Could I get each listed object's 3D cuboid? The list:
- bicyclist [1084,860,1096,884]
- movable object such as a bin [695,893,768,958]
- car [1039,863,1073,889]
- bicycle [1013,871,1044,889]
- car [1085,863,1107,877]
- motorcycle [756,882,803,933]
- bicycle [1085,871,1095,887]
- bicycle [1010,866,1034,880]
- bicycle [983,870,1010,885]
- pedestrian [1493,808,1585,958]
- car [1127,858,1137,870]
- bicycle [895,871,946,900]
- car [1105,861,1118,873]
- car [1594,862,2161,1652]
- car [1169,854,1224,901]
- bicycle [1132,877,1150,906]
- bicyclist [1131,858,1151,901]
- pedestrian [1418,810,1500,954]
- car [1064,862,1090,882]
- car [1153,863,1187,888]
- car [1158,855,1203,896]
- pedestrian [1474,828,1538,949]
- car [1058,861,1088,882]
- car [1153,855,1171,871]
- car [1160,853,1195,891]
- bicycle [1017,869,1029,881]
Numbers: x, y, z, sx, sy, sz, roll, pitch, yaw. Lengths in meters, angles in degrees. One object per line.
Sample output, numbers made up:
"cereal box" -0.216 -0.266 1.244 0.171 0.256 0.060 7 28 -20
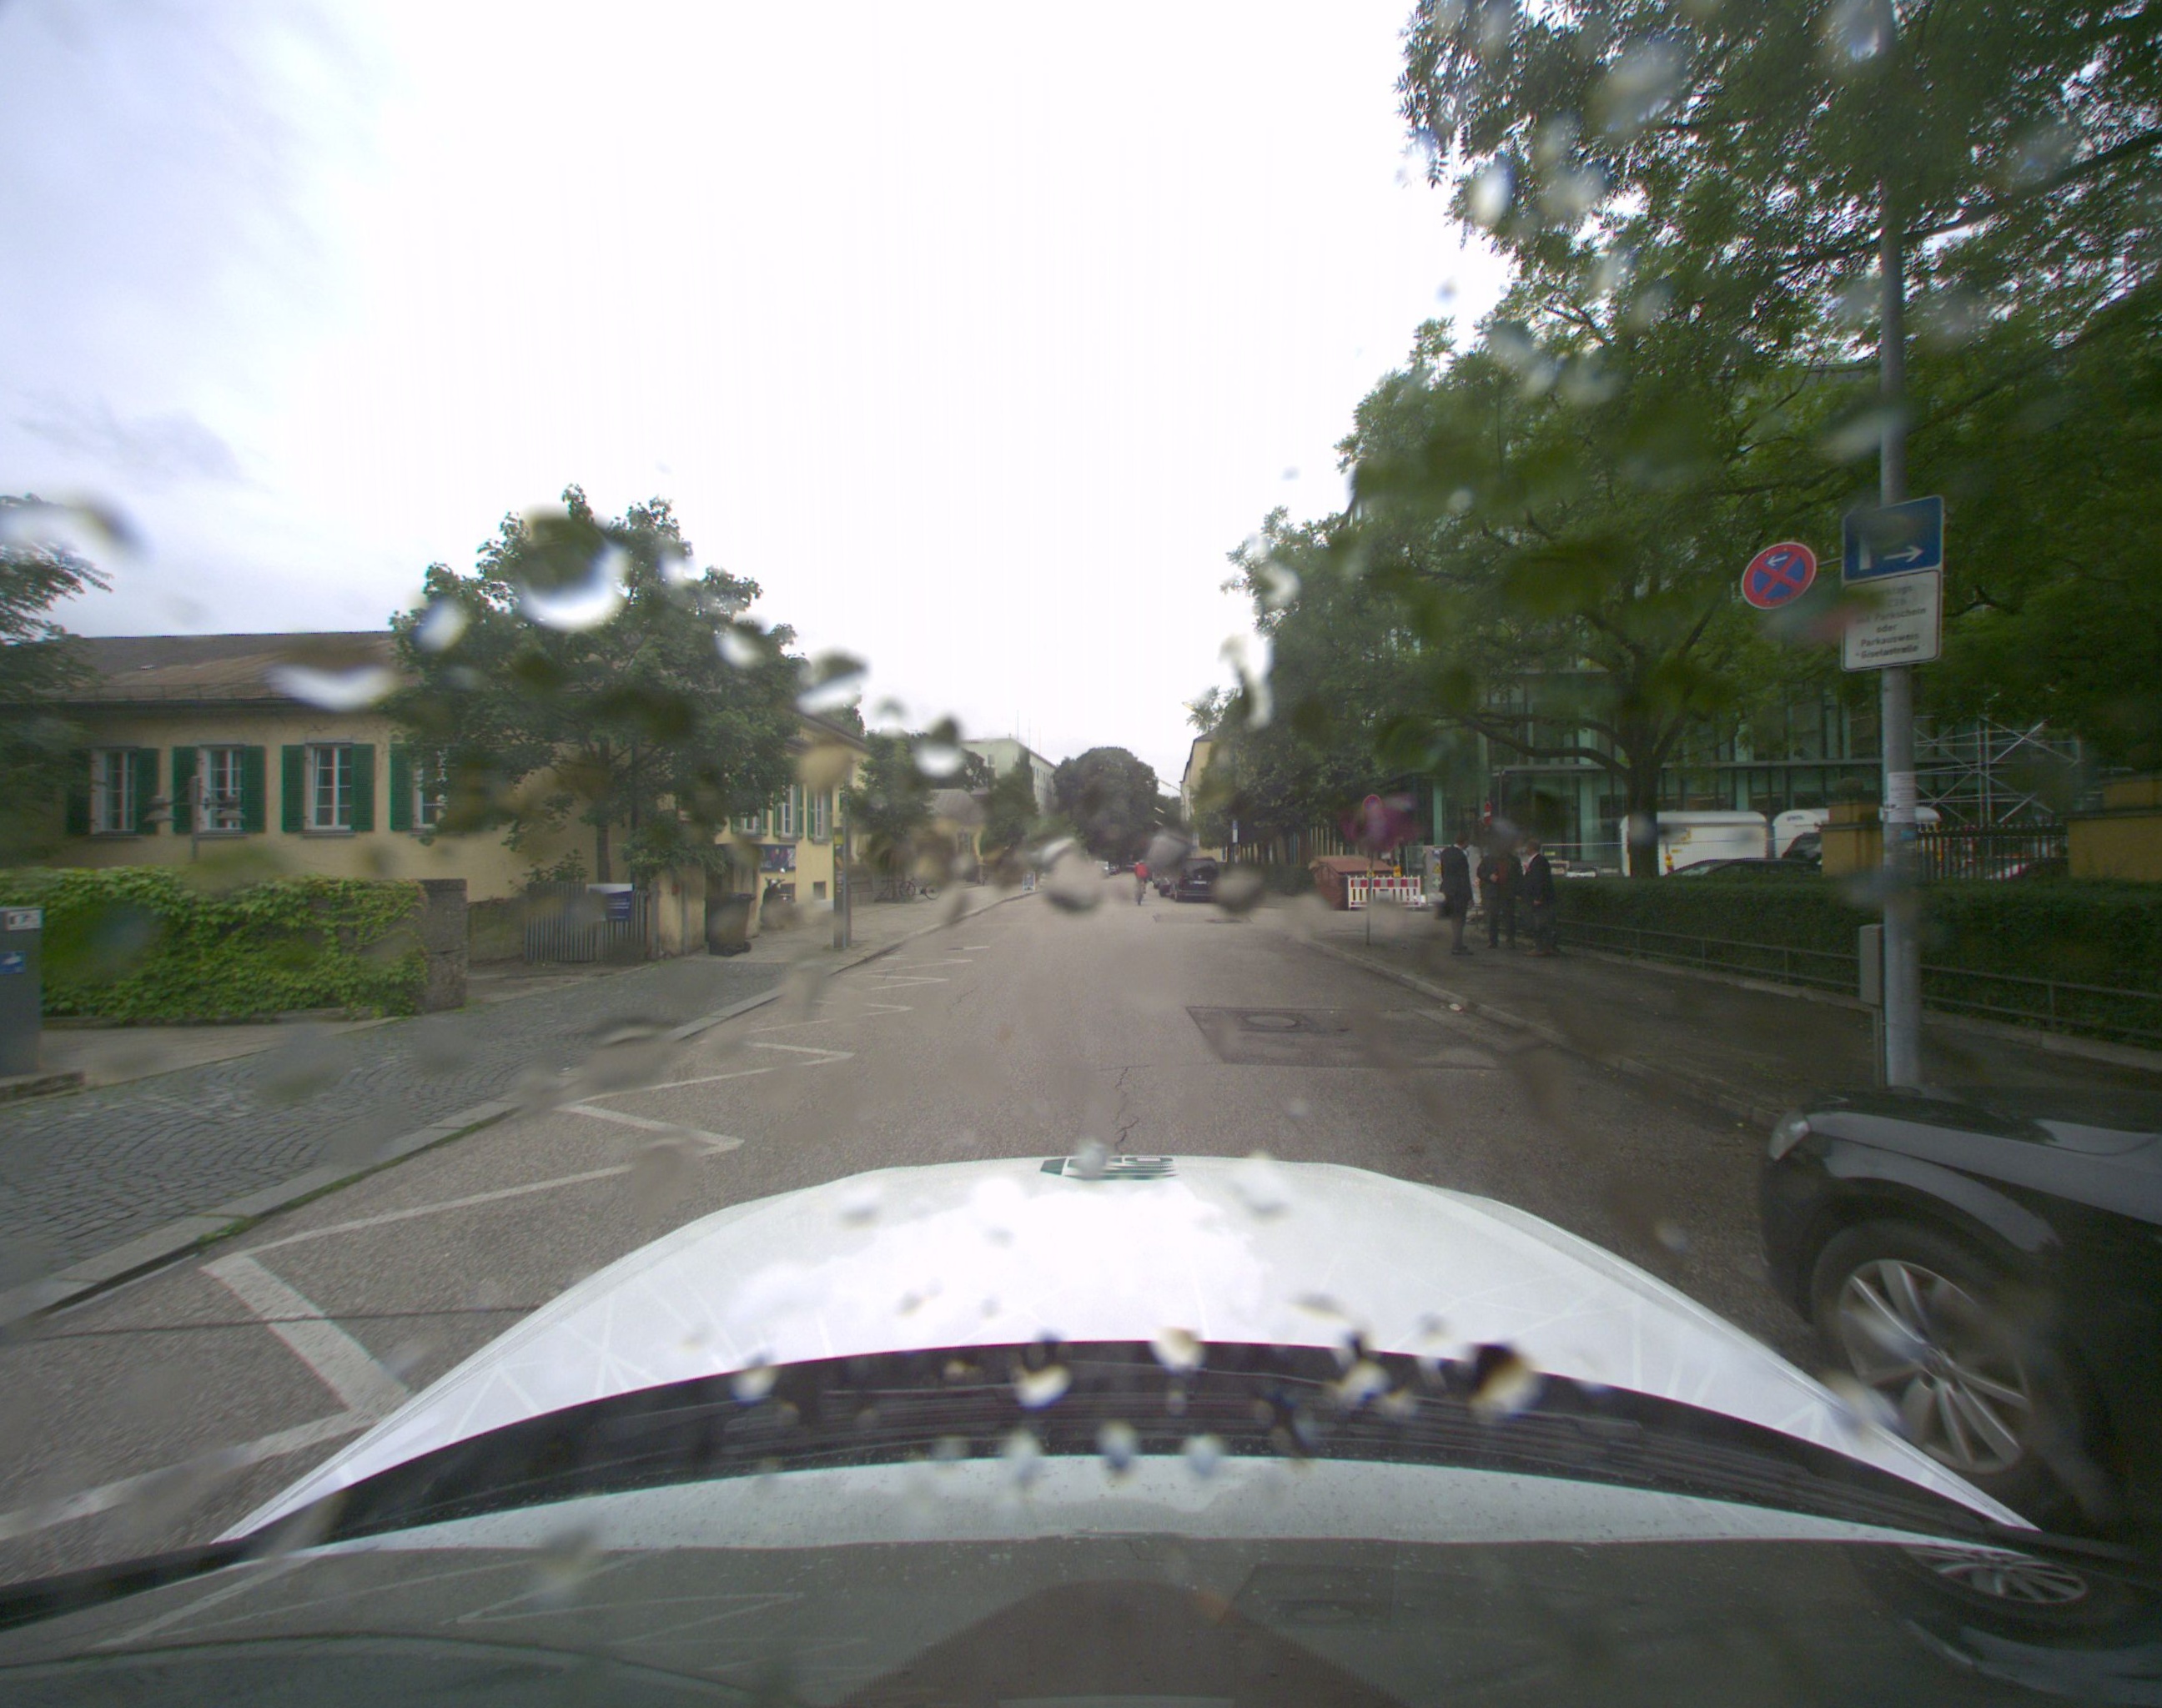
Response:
"bicyclist" 0.617 1.213 54.951 0.740 1.576 0.977 -1 -1 1
"movable object such as a bin" -6.122 1.243 14.309 0.932 1.064 0.840 -1 0 -2
"car" -1.562 1.381 52.582 1.726 1.581 3.792 2 -1 4
"bicycle" -3.079 1.509 48.087 0.615 1.004 2.153 2 0 34
"car" 1.652 1.724 88.069 1.984 1.486 4.006 -1 0 6
"motorcycle" -7.145 1.231 19.266 0.561 1.101 1.818 1 -1 -35
"bicycle" 0.599 1.672 54.967 0.619 1.004 2.140 -1 0 0
"bicycle" -4.276 1.404 59.152 1.623 1.004 0.617 0 -2 -30
"bicycle" -5.440 1.516 52.345 1.620 0.926 0.646 0 -2 -24
"pedestrian" 6.866 0.420 12.264 0.740 2.135 1.056 -1 -1 0
"car" 9.825 1.943 157.017 1.985 2.099 4.004 2 0 3
"bicycle" -6.553 1.275 33.242 1.922 1.099 0.615 1 -1 4
"car" 4.506 1.907 119.382 1.802 1.683 4.004 -1 0 3
"car" 2.966 0.787 0.755 1.766 1.490 4.971 2 0 -1
"car" 4.691 0.919 33.573 1.754 1.823 4.140 0 0 1
"bicycle" 2.155 1.330 29.310 0.619 1.004 2.142 -1 -2 4
"bicyclist" 2.158 0.922 29.262 0.669 1.498 1.095 -1 -2 3
"pedestrian" 5.877 0.425 12.722 0.740 2.135 1.056 -1 -1 0
"car" -0.325 1.563 70.369 1.985 1.603 4.002 0 -1 3
"car" 5.444 1.279 50.127 1.855 1.440 4.259 0 -1 4
"car" 4.644 0.965 38.399 1.854 1.794 4.514 -1 0 4
"pedestrian" 7.039 0.551 13.473 0.735 1.907 1.062 -2 -1 36
"car" -0.610 1.381 65.163 1.985 1.648 4.660 -1 -1 4
"car" 10.651 1.224 107.484 1.986 2.060 4.625 0 -1 2
"car" 5.225 0.936 44.600 1.741 1.943 4.233 -1 0 5
"bicycle" -4.594 1.667 64.348 0.618 1.004 1.622 0 -2 7
